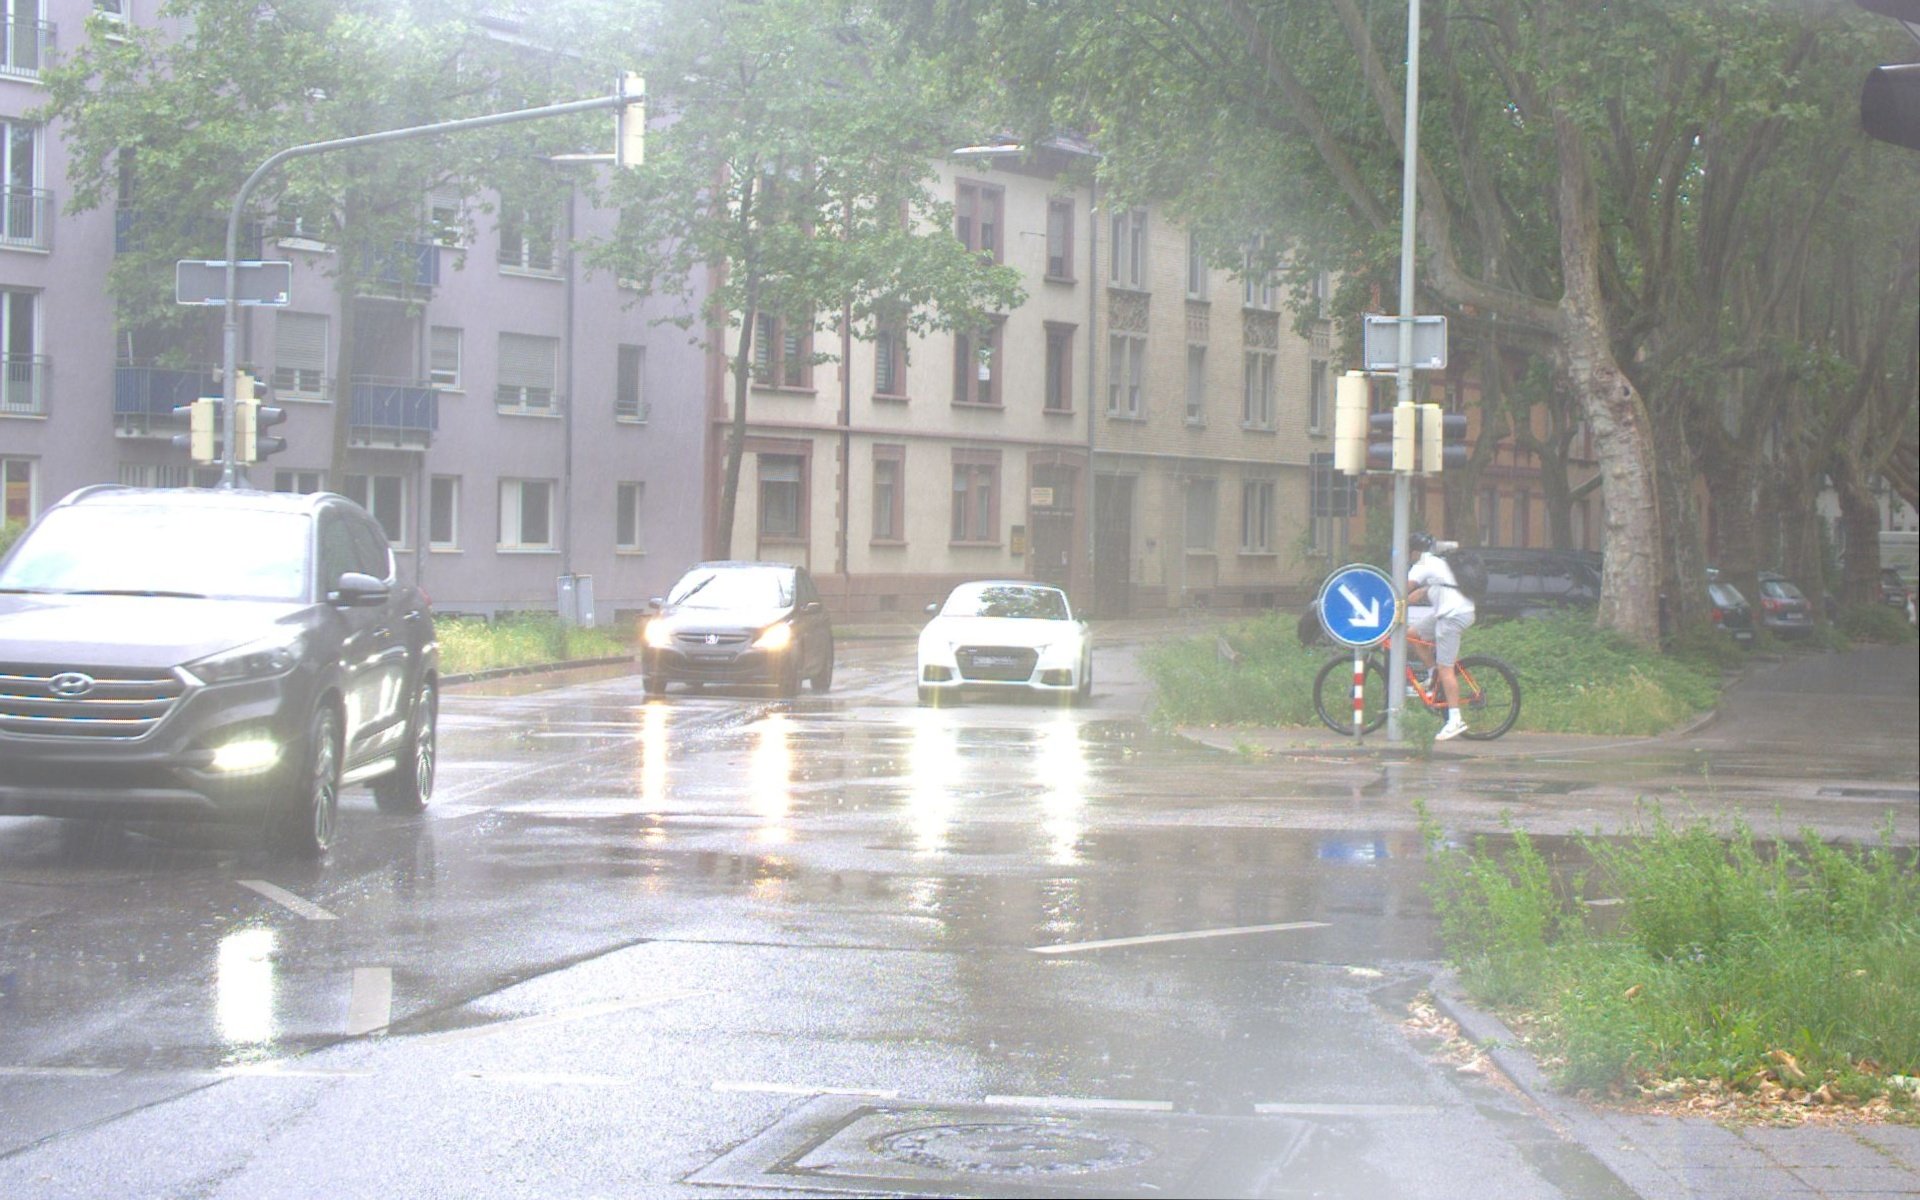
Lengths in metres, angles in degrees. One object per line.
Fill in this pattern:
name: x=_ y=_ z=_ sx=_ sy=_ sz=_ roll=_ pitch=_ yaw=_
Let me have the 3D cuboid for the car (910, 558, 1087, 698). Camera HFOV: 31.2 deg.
car: x=0.470 y=0.278 z=39.131 sx=1.884 sy=1.431 sz=4.000 roll=1 pitch=1 yaw=1

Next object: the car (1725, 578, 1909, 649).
car: x=19.568 y=0.299 z=78.654 sx=3.989 sy=1.542 sz=1.999 roll=1 pitch=1 yaw=12

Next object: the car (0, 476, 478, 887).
car: x=-3.612 y=0.284 z=16.531 sx=1.803 sy=1.677 sz=4.603 roll=1 pitch=1 yaw=1

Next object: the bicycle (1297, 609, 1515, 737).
bicycle: x=3.942 y=0.640 z=30.396 sx=1.873 sy=1.077 sz=0.657 roll=1 pitch=0 yaw=8

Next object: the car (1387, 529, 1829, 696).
car: x=6.167 y=0.098 z=32.702 sx=3.989 sy=1.481 sz=1.999 roll=1 pitch=1 yaw=12

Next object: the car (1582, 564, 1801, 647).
car: x=13.923 y=0.093 z=65.457 sx=3.989 sy=1.481 sz=1.999 roll=1 pitch=1 yaw=12

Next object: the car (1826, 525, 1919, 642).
car: x=24.387 y=-0.423 z=87.716 sx=2.033 sy=2.938 sz=4.773 roll=1 pitch=1 yaw=-21

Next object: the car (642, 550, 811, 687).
car: x=-2.590 y=0.180 z=38.872 sx=1.714 sy=1.454 sz=3.748 roll=1 pitch=1 yaw=-1

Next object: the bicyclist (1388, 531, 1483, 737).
bicyclist: x=4.195 y=0.293 z=30.361 sx=0.795 sy=1.780 sz=0.697 roll=1 pitch=0 yaw=8
